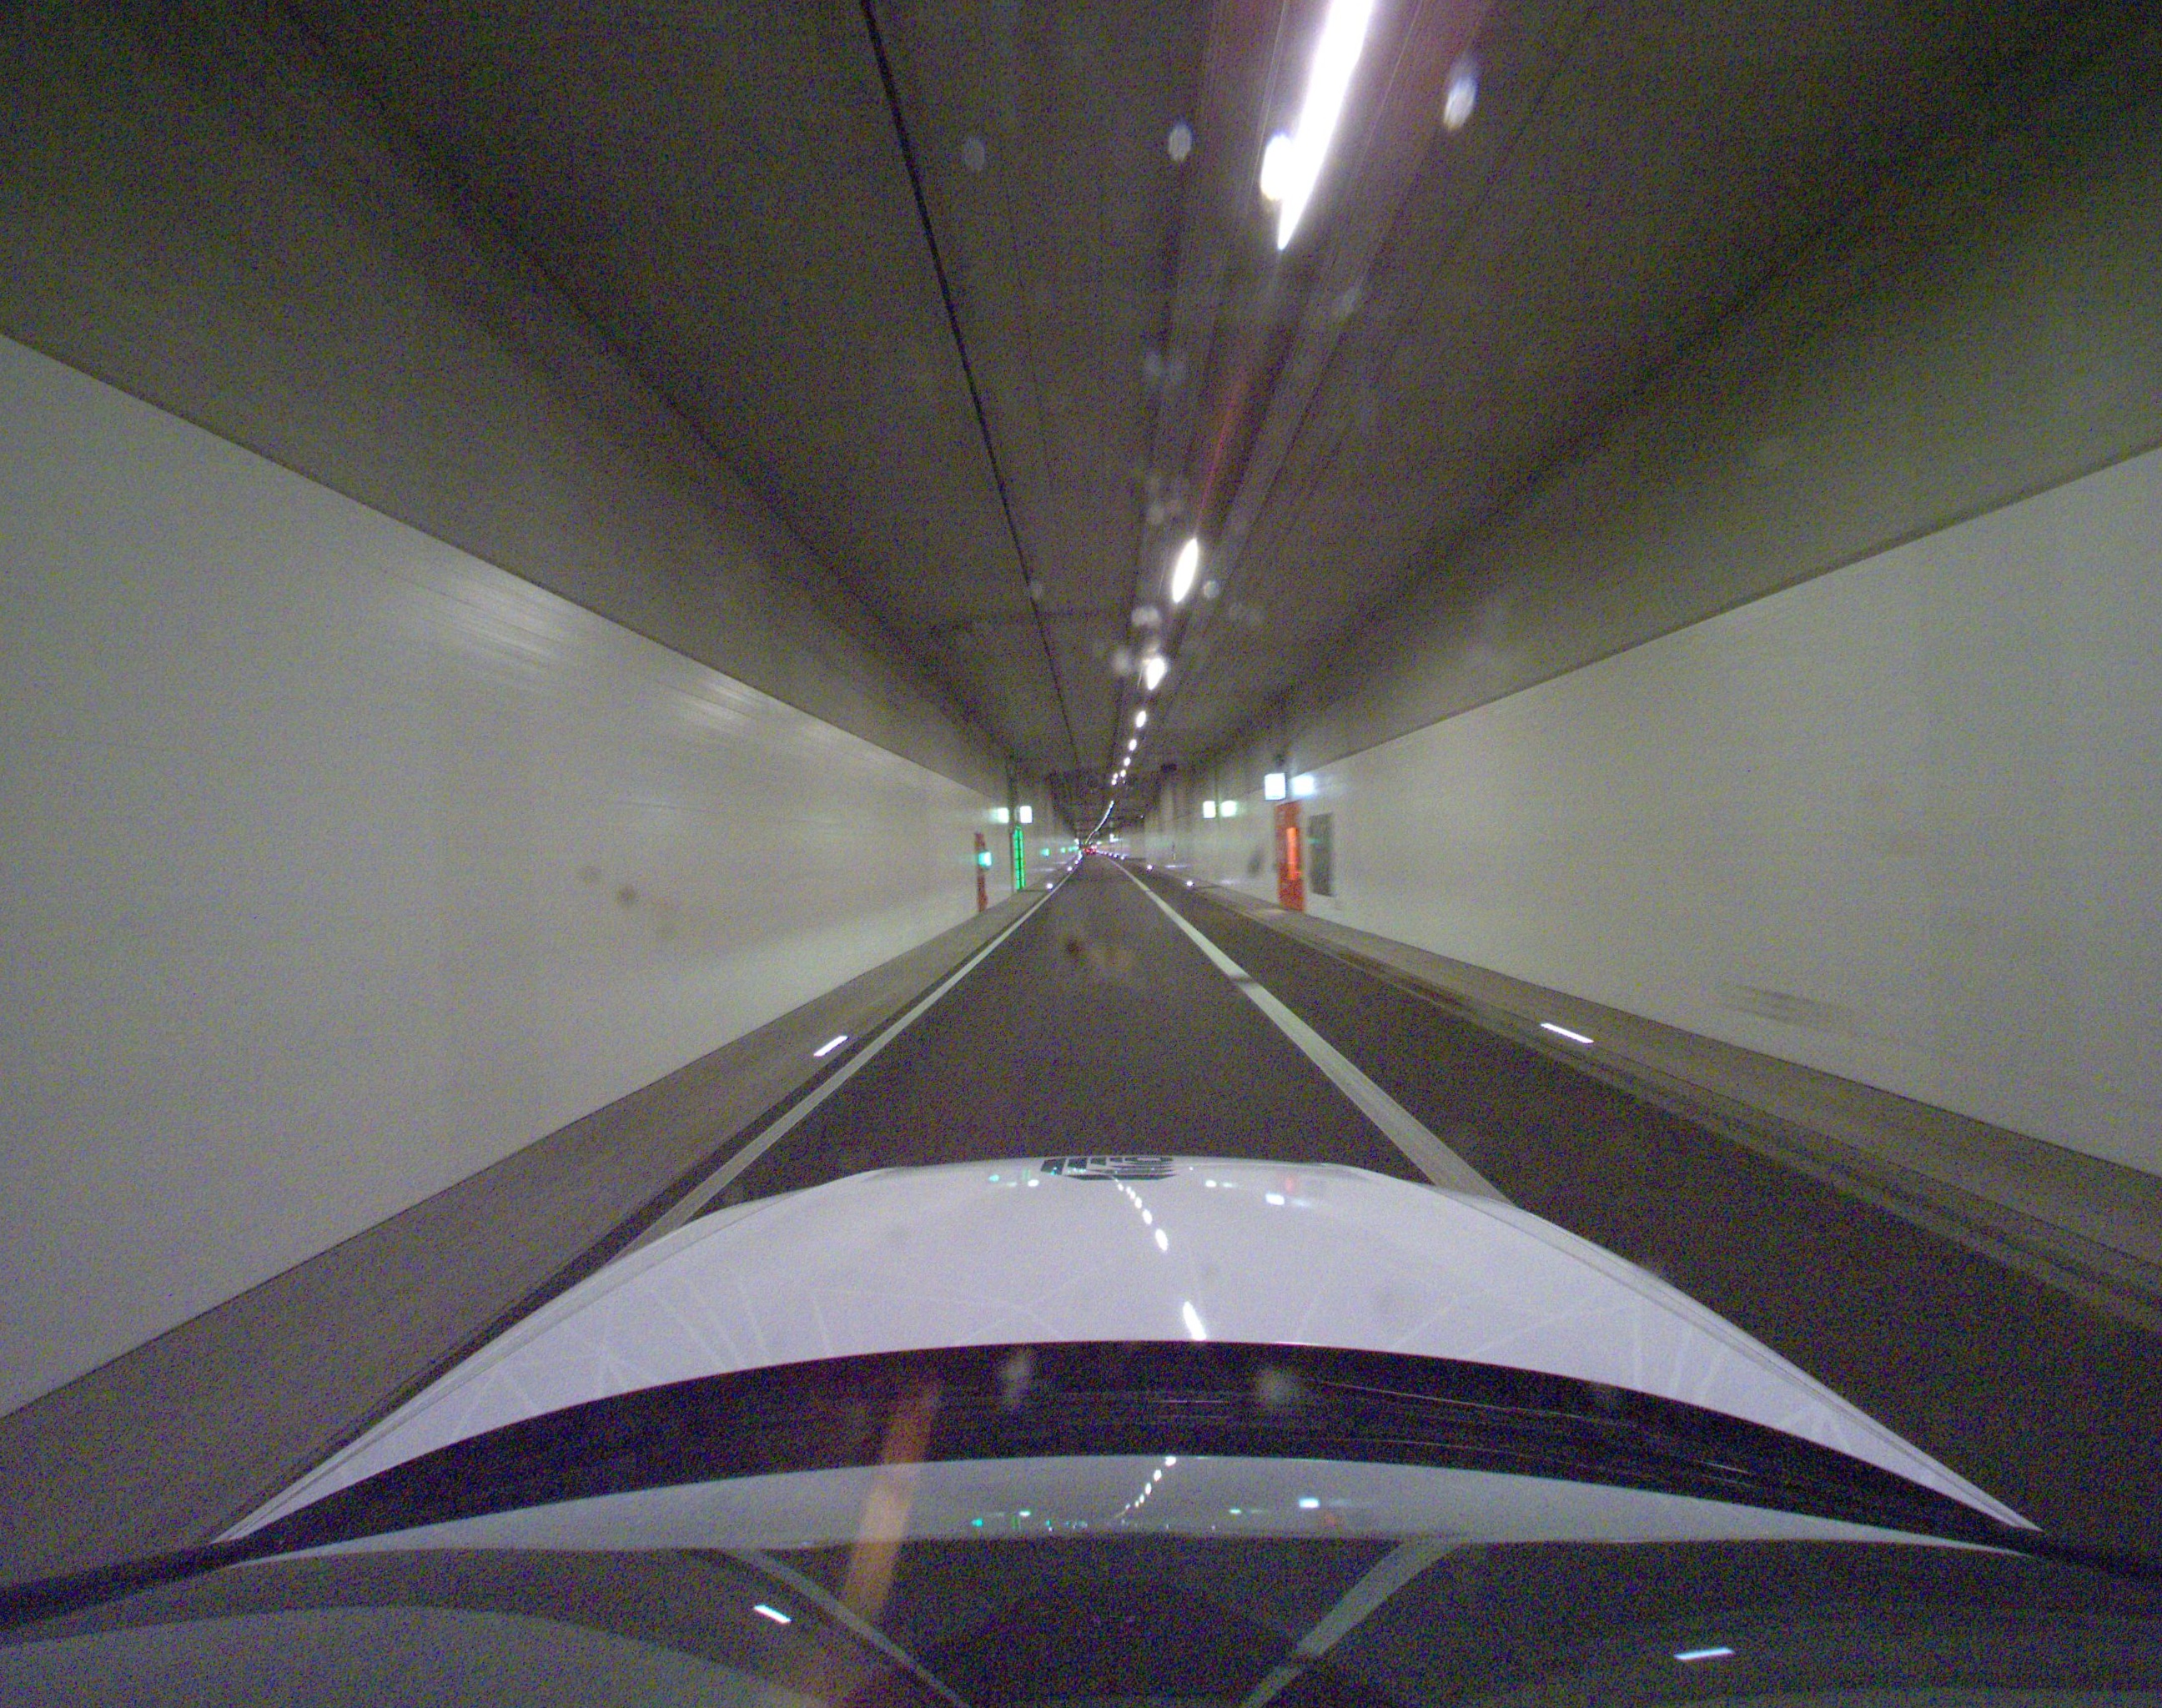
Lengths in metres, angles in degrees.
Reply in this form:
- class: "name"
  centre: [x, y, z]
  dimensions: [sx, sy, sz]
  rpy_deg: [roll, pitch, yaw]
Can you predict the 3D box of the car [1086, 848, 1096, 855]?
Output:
- class: "car"
  centre: [1.954, -0.510, 159.156]
  dimensions: [1.987, 1.420, 3.999]
  rpy_deg: [-1, 0, -1]
